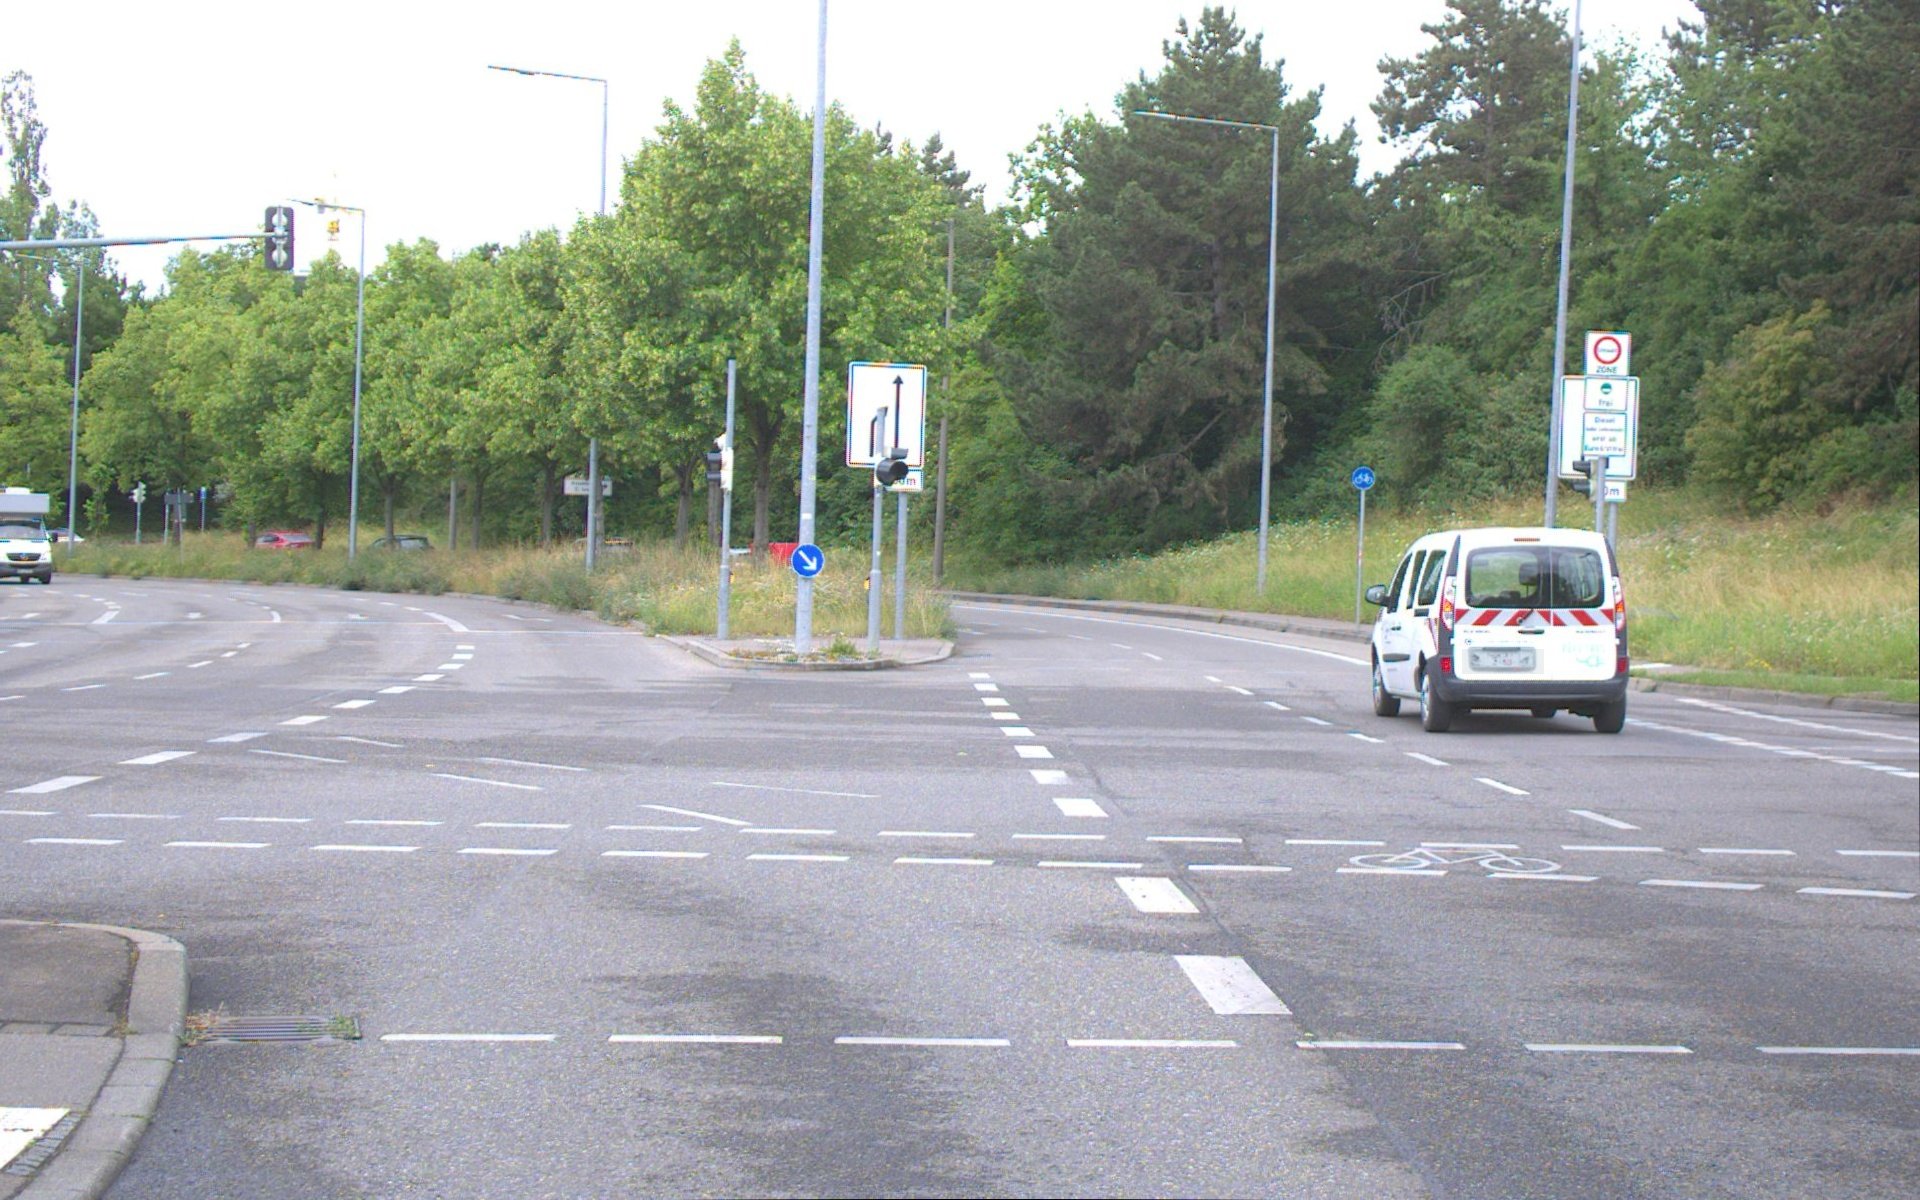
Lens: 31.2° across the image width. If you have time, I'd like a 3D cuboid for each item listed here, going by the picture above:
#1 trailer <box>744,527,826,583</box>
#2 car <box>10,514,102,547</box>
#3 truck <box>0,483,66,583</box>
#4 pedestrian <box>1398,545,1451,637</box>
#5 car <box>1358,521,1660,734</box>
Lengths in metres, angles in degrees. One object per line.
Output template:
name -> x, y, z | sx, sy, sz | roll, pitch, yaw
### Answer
trailer -> -5.176, -1.332, 101.567 | 1.764, 1.610, 3.045 | 0, 1, -16
car -> -39.952, -3.067, 151.835 | 4.455, 1.416, 1.779 | 2, 2, 42
truck -> -30.838, -2.141, 110.440 | 2.116, 3.124, 5.899 | 0, 1, -36
pedestrian -> 8.345, -0.164, 61.815 | 0.814, 1.622, 0.791 | 1, 1, -1
car -> 4.928, 0.215, 31.531 | 1.994, 1.796, 4.839 | 0, 0, 0
